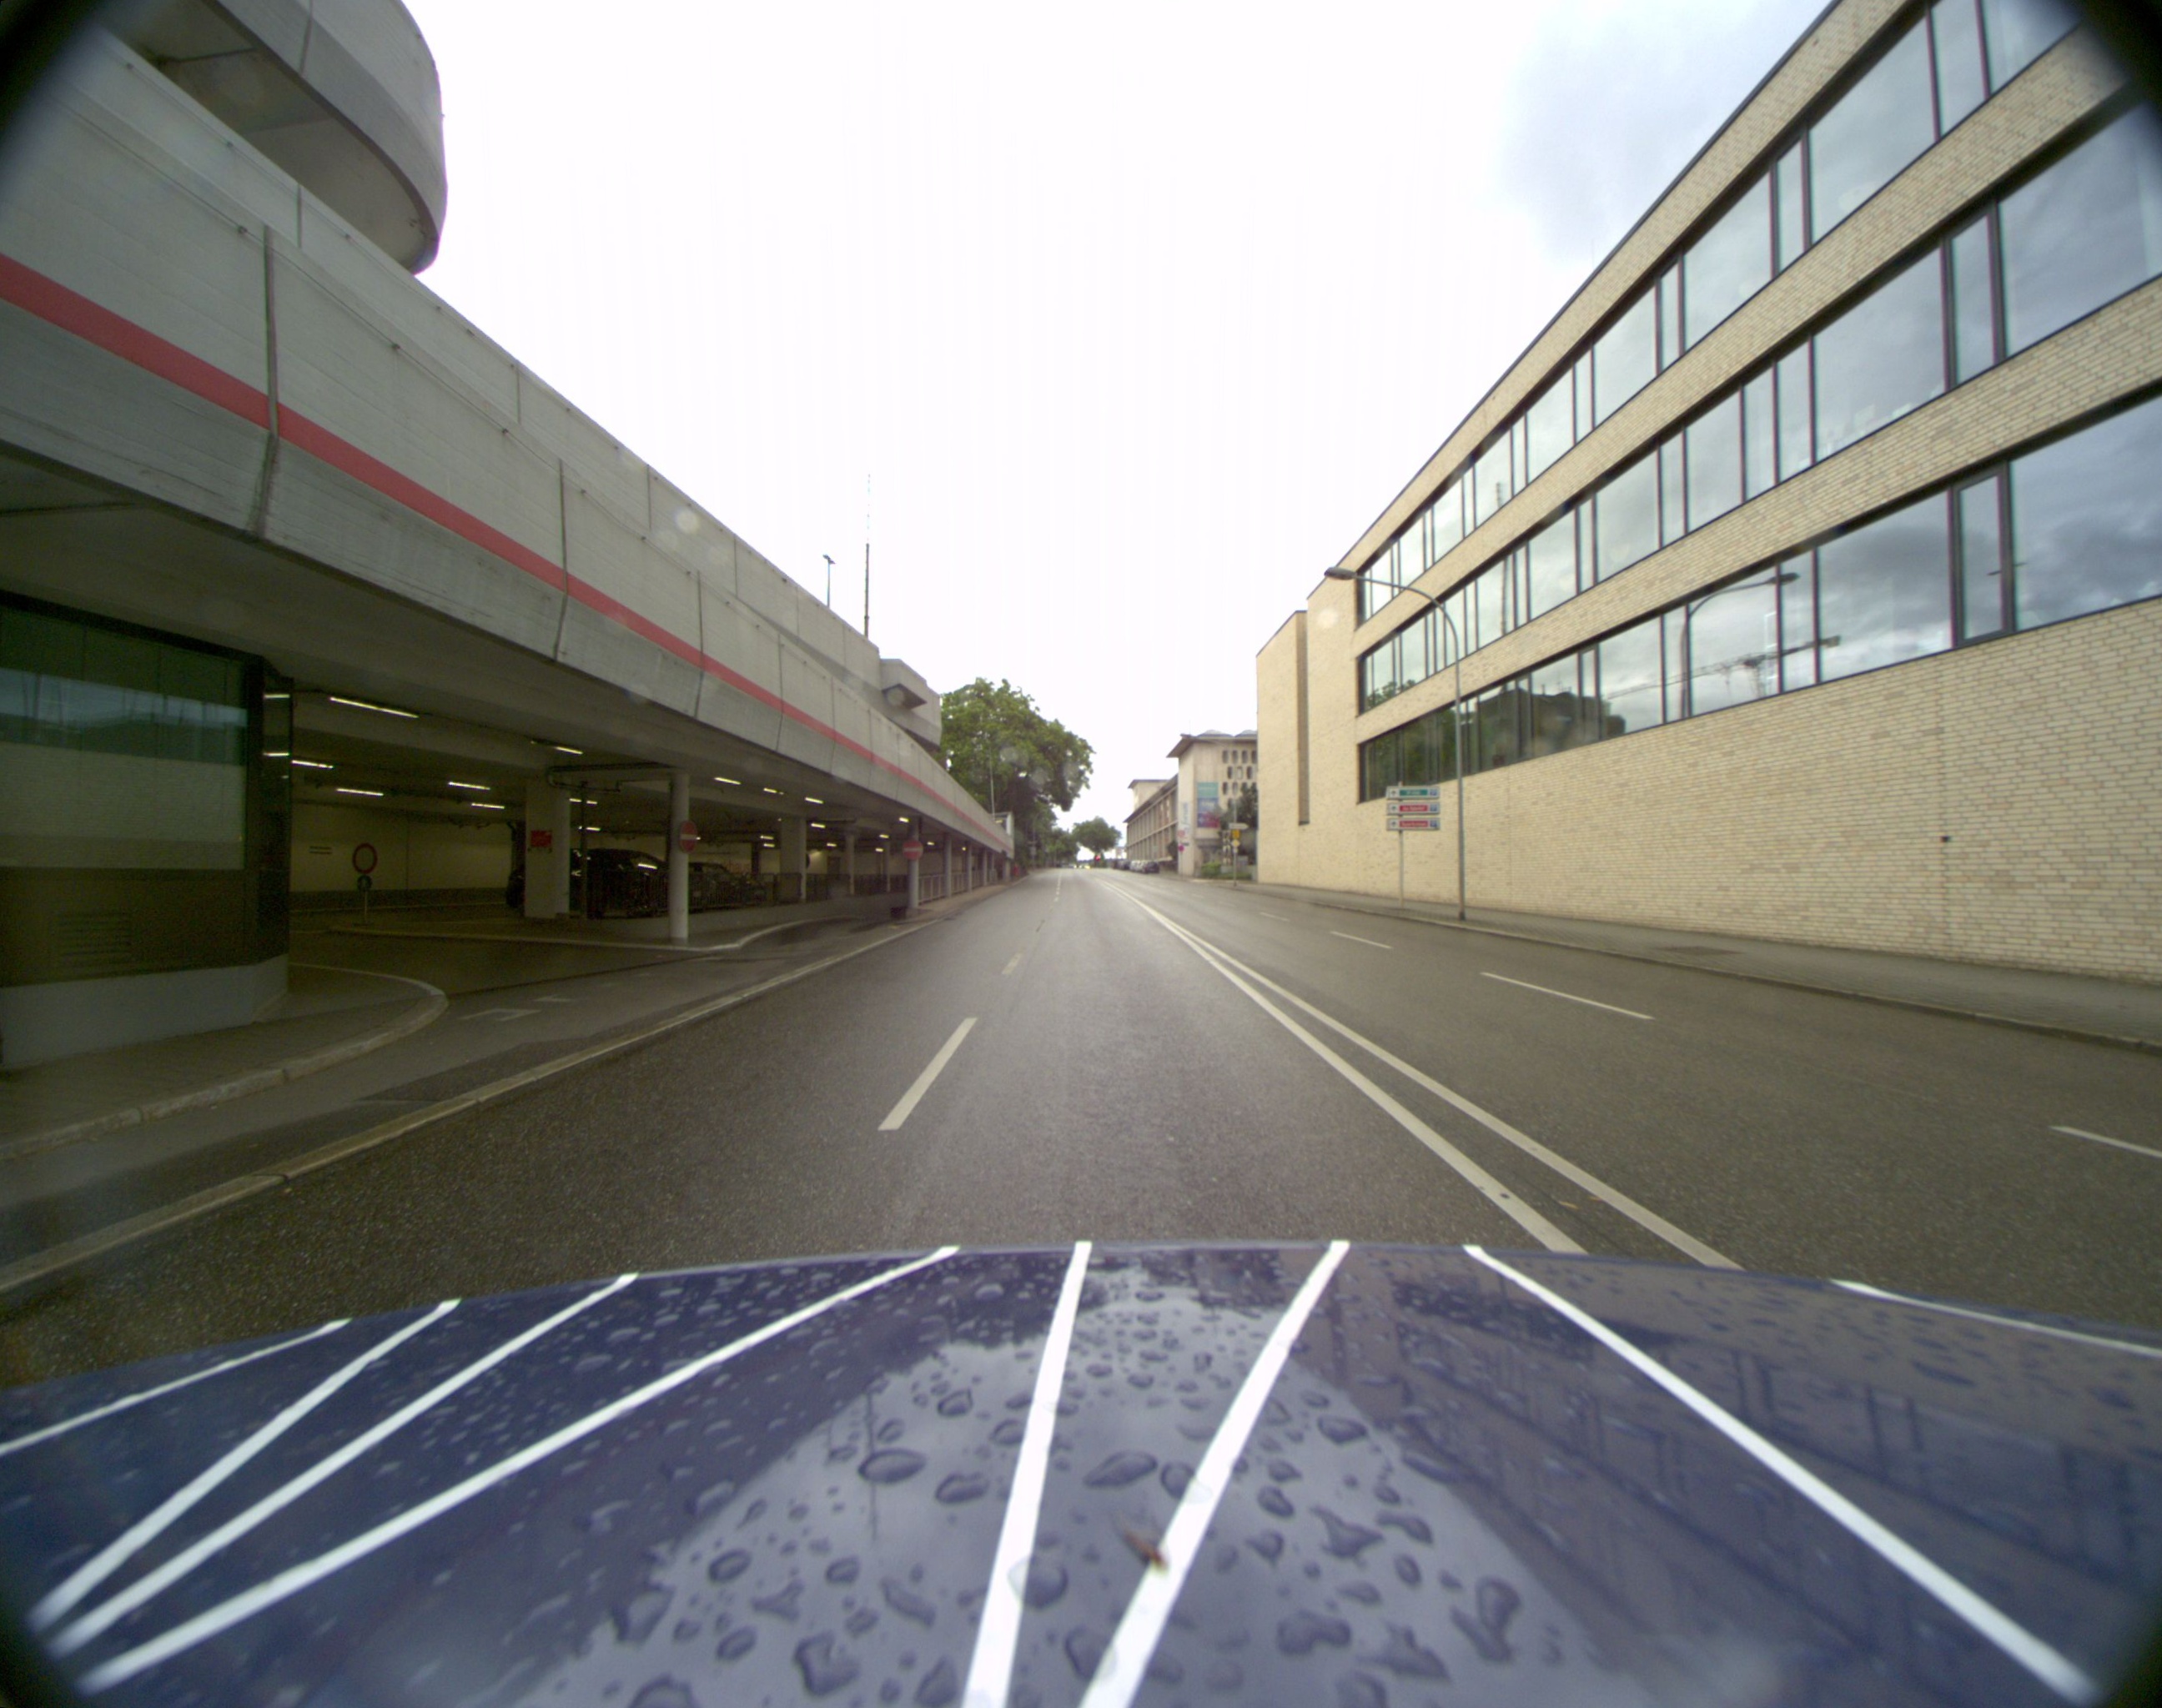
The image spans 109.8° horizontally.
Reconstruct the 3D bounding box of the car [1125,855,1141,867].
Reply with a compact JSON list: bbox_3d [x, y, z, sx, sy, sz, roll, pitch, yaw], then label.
[{"bbox_3d":[8.275,1.151,120.872,1.999,1.701,3.999,-3,1,-2],"label":"car"}]

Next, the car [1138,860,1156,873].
[{"bbox_3d":[8.717,1.679,101.148,1.998,1.503,3.999,-2,1,0],"label":"car"}]

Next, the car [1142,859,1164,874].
[{"bbox_3d":[8.537,1.491,90.372,1.999,1.520,3.999,-2,1,-2],"label":"car"}]

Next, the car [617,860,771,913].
[{"bbox_3d":[-11.606,0.952,22.921,3.731,1.496,1.808,0,0,5],"label":"car"}]

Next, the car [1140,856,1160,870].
[{"bbox_3d":[8.680,1.139,95.875,1.999,1.632,3.999,-2,1,-1],"label":"car"}]

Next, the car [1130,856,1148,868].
[{"bbox_3d":[8.522,1.164,112.115,1.999,1.521,3.999,-9,1,-2],"label":"car"}]

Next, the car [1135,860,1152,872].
[{"bbox_3d":[8.689,1.618,106.202,1.999,1.482,4.185,-2,1,-1],"label":"car"}]

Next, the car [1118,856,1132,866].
[{"bbox_3d":[7.795,1.225,134.241,1.999,1.528,3.999,-2,1,-1],"label":"car"}]

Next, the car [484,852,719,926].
[{"bbox_3d":[-11.323,0.789,18.089,4.585,1.630,1.823,0,-1,7],"label":"car"}]

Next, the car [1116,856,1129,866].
[{"bbox_3d":[7.801,1.348,141.937,1.999,1.637,3.998,-3,2,-2],"label":"car"}]

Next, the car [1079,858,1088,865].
[{"bbox_3d":[0.644,2.052,211.782,1.806,2.002,3.997,-2,1,-6],"label":"car"}]
